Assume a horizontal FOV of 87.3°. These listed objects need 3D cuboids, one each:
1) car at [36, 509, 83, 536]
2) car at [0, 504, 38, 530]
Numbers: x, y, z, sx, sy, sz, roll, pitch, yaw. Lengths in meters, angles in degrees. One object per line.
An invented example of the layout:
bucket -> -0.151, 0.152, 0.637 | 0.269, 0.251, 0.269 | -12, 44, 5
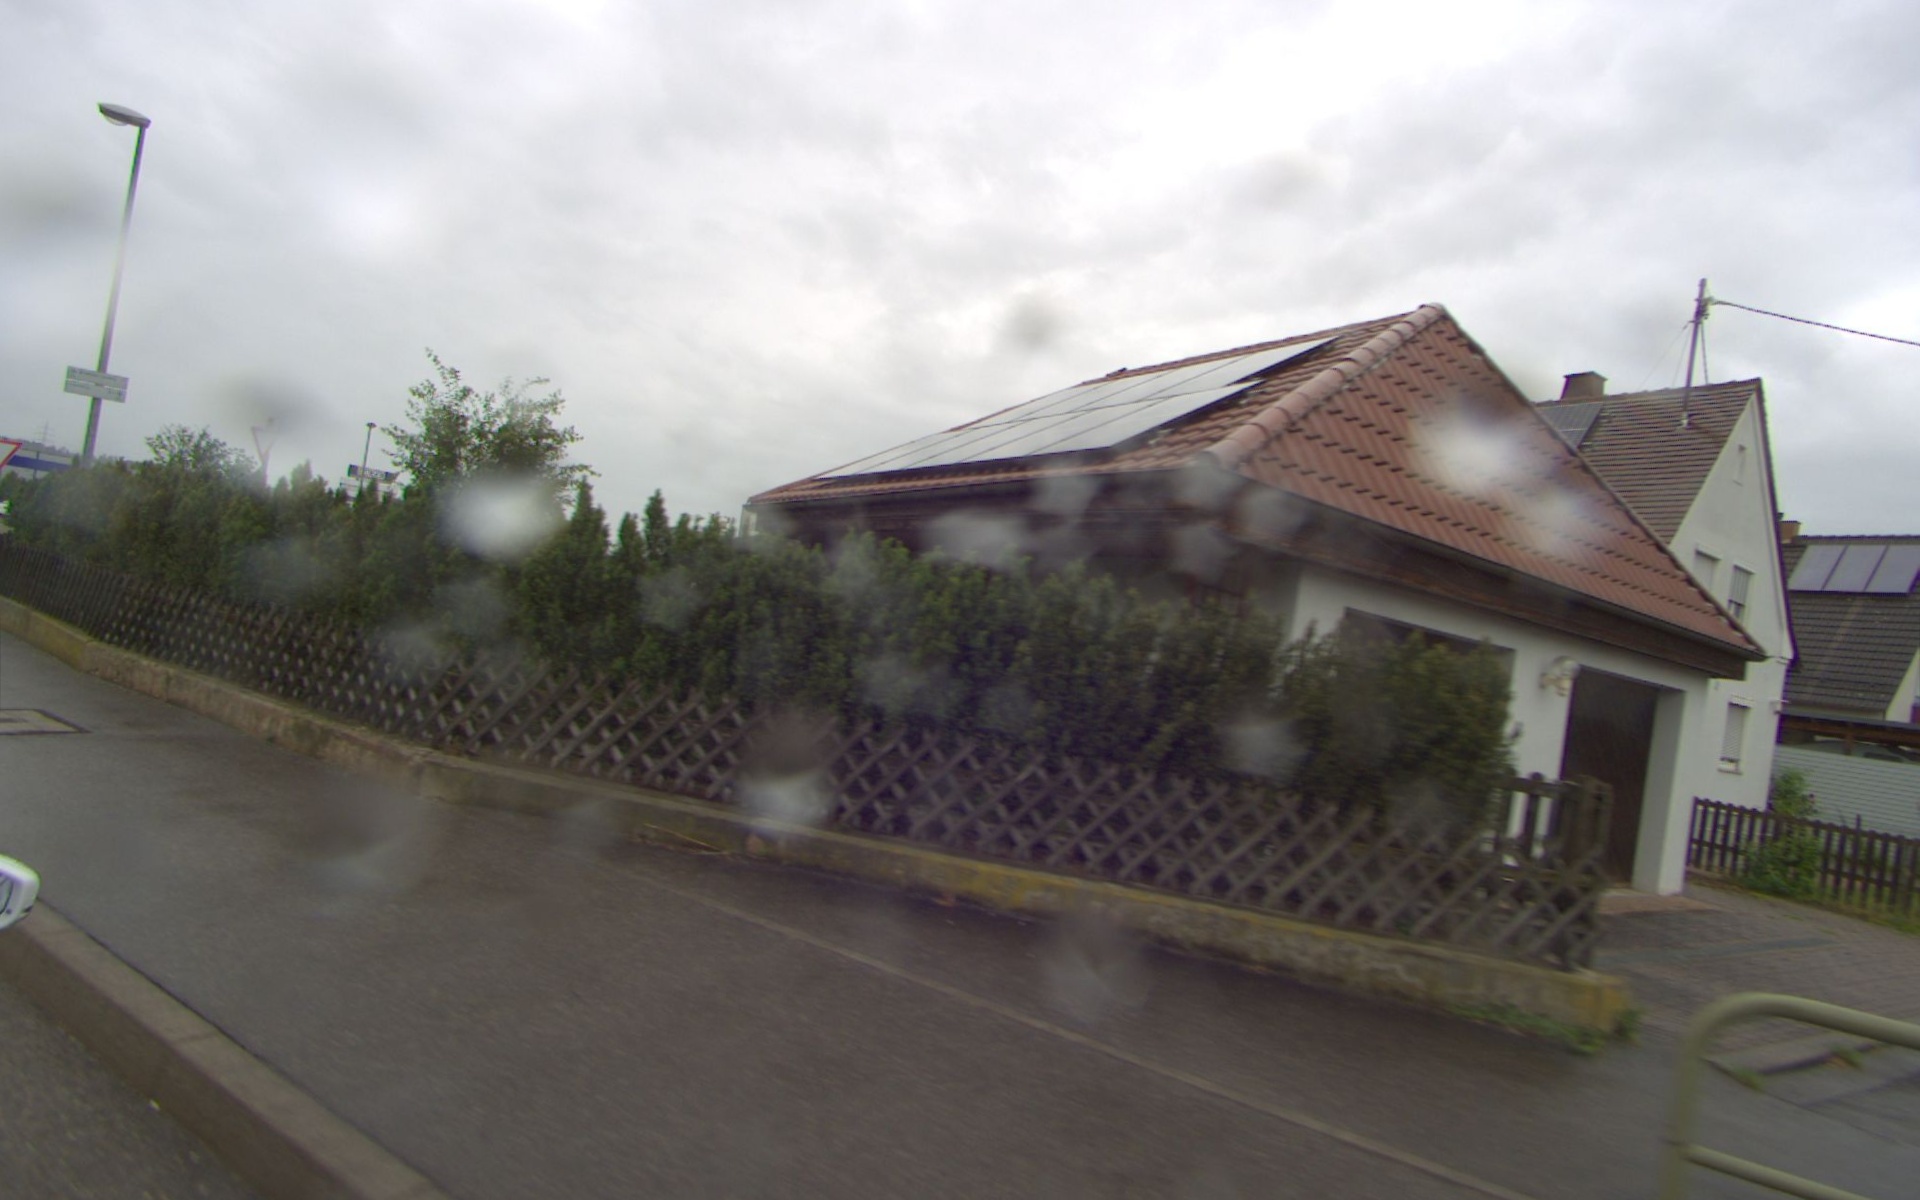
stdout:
car -> -63.234, -5.412, 70.684 | 1.985, 1.495, 3.959 | 9, -3, -38
car -> -64.972, -5.728, 69.035 | 1.985, 1.495, 3.960 | 9, -3, -37
